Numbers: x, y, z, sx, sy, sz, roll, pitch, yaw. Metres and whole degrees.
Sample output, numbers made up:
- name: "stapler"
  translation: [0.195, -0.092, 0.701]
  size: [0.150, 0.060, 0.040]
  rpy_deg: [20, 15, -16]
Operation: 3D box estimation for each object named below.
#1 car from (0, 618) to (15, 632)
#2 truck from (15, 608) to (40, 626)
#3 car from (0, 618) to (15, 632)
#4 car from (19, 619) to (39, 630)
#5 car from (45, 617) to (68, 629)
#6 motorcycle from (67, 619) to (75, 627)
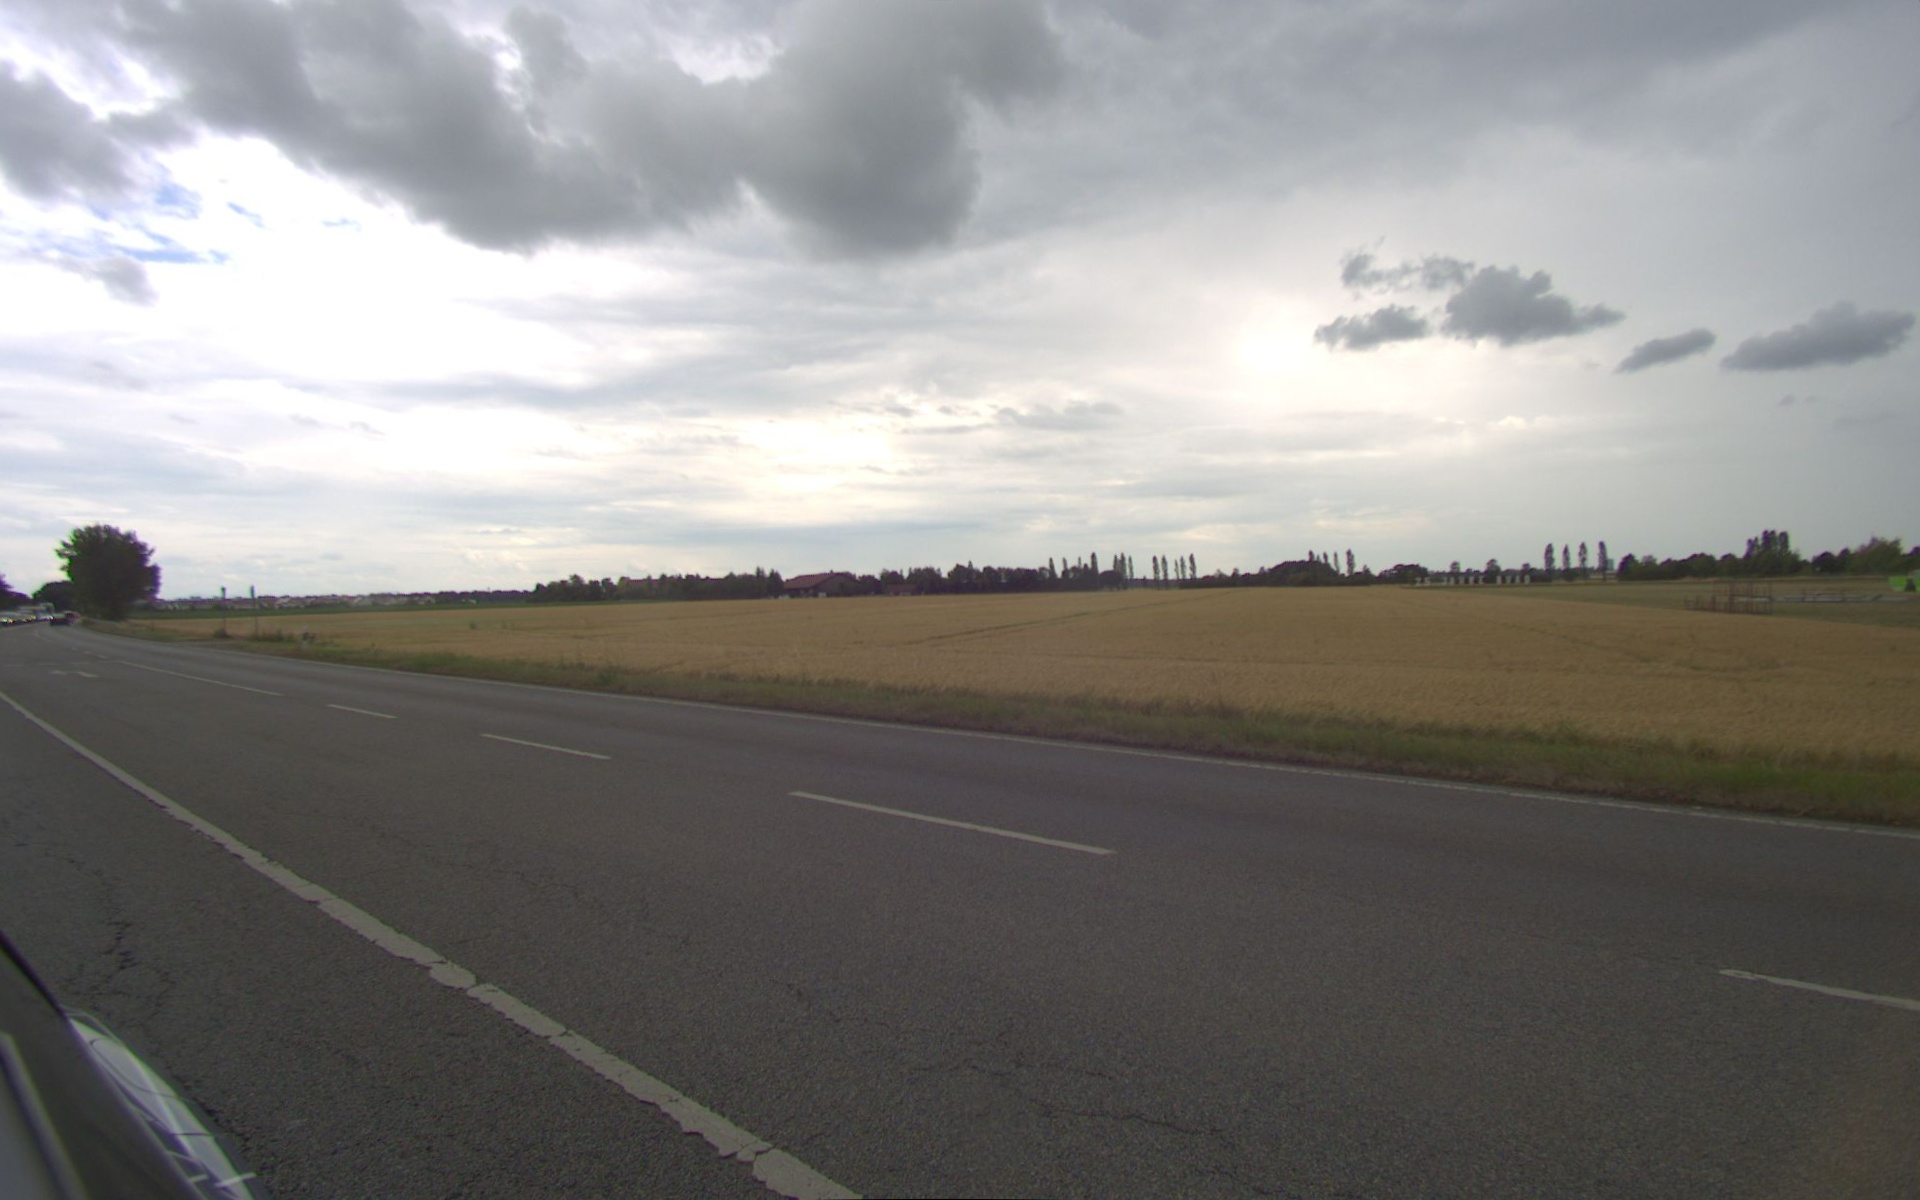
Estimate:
- name: "car"
  translation: [-117.928, 3.067, 124.606]
  size: [1.924, 1.595, 4.146]
  rpy_deg: [-1, -1, -37]
- name: "truck"
  translation: [-154.892, 2.806, 168.116]
  size: [2.284, 2.786, 7.689]
  rpy_deg: [-1, 0, -37]
- name: "car"
  translation: [-112.831, 2.946, 119.259]
  size: [1.766, 1.595, 4.145]
  rpy_deg: [-1, -1, -38]
- name: "car"
  translation: [-137.657, 3.573, 149.643]
  size: [1.766, 1.551, 4.146]
  rpy_deg: [-1, -1, -36]
- name: "car"
  translation: [-106.836, 2.703, 119.740]
  size: [1.804, 1.421, 4.432]
  rpy_deg: [-2, 1, -39]
- name: "motorcycle"
  translation: [-132.847, 3.497, 151.234]
  size: [0.716, 1.157, 2.028]
  rpy_deg: [0, -1, -38]
